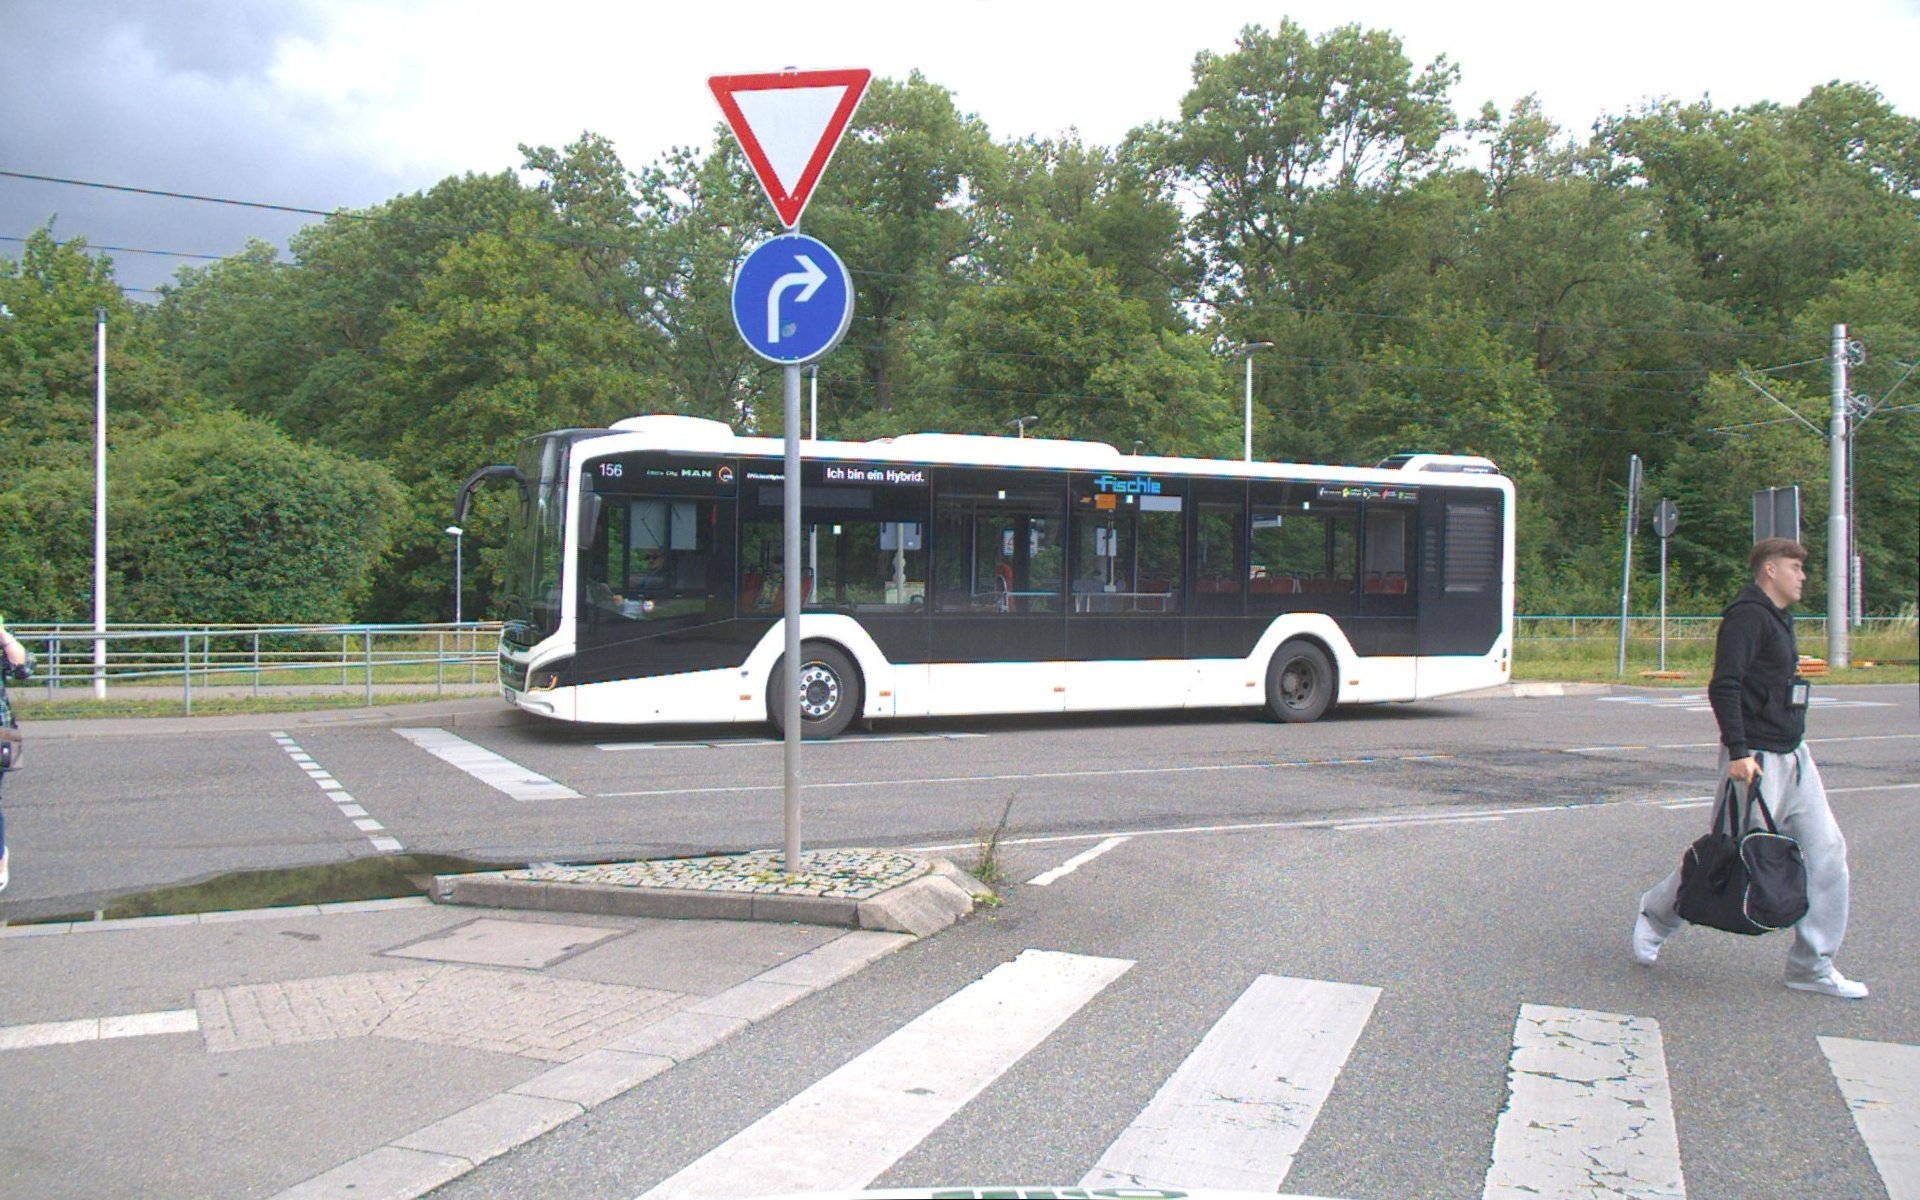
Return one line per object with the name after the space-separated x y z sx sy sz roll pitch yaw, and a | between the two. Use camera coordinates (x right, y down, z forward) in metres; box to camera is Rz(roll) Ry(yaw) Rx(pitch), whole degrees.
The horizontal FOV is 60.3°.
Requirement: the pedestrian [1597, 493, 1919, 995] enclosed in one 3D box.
3.246 0.514 6.501 0.939 1.777 1.057 1 0 -16 | pedestrian

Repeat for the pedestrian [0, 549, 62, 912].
-4.490 0.571 7.512 0.683 1.594 0.725 1 -1 -31 | pedestrian

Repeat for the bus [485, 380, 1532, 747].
1.024 -0.298 18.613 12.012 3.259 2.652 0 0 -27 | bus
